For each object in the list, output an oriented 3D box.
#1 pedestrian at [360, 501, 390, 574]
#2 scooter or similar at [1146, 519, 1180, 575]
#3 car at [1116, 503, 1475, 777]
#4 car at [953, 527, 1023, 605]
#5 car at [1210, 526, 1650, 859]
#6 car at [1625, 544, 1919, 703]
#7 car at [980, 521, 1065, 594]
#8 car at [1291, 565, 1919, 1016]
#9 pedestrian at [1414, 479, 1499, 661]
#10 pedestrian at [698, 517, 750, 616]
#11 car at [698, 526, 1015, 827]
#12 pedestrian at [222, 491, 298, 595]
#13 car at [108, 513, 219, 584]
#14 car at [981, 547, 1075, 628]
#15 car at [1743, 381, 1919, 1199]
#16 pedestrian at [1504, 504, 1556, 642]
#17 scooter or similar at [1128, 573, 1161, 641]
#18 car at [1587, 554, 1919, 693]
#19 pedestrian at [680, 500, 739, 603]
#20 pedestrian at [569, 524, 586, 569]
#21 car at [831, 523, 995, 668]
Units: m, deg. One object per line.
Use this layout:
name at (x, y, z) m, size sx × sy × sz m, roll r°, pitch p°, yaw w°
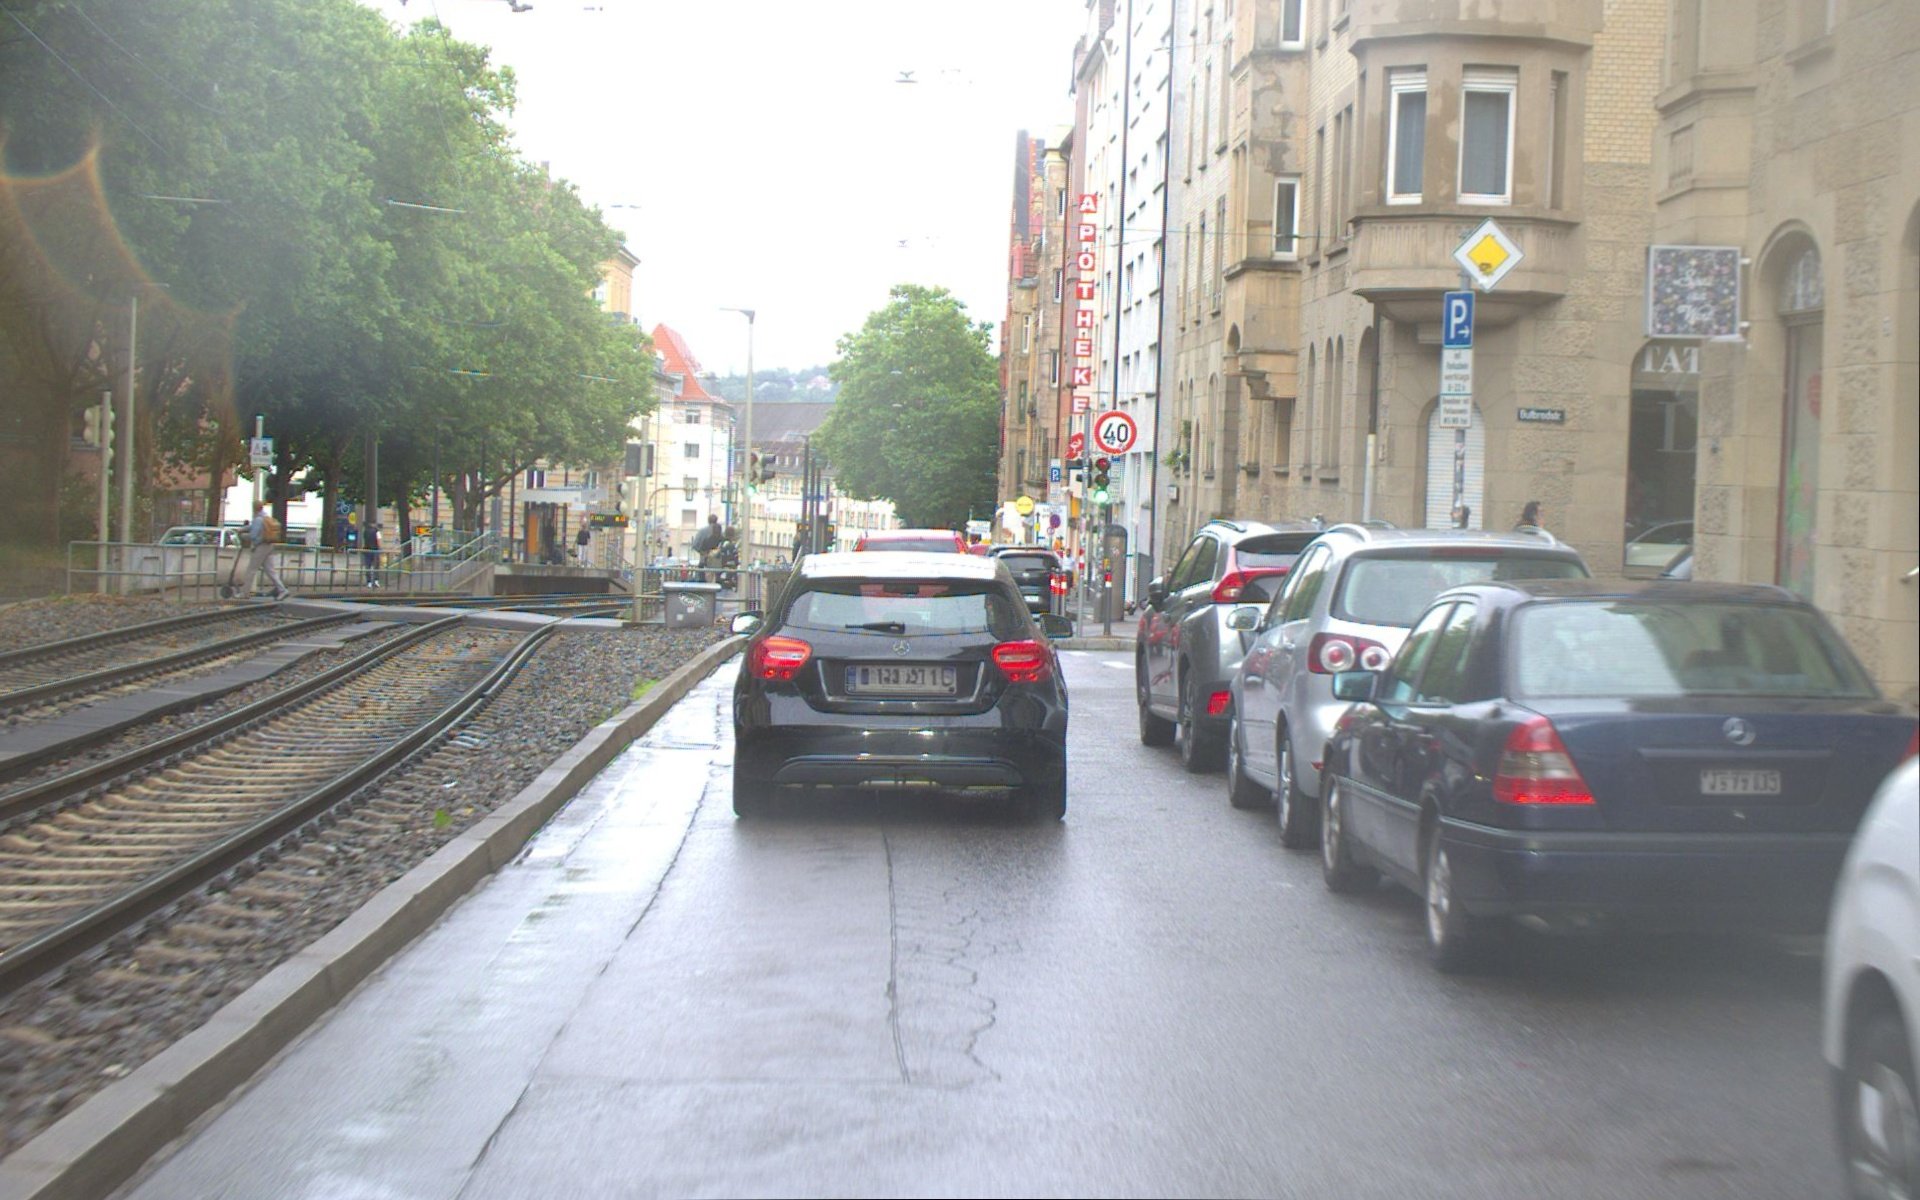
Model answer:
pedestrian at (-14.336, -1.531, 84.235) m, size 0.534 × 1.748 × 0.607 m, roll 3°, pitch 1°, yaw -1°
scooter or similar at (4.902, -1.290, 83.086) m, size 0.448 × 1.316 × 1.778 m, roll -1°, pitch 1°, yaw -8°
car at (2.203, 0.209, 23.725) m, size 1.766 × 1.662 × 4.333 m, roll 2°, pitch 1°, yaw -3°
car at (0.722, -0.934, 92.553) m, size 1.759 × 2.007 × 4.001 m, roll 0°, pitch 1°, yaw -1°
car at (2.357, 0.399, 18.175) m, size 1.693 × 1.524 × 4.000 m, roll 1°, pitch 1°, yaw -1°
car at (8.859, 0.208, 33.482) m, size 4.451 × 1.479 × 1.864 m, roll 0°, pitch 1°, yaw 2°
car at (1.378, -0.968, 77.326) m, size 1.759 × 1.573 × 4.001 m, roll 0°, pitch 2°, yaw -1°
car at (2.424, 0.589, 13.137) m, size 1.717 × 1.342 × 4.462 m, roll 2°, pitch 1°, yaw -2°
pedestrian at (4.945, -0.305, 34.242) m, size 0.694 × 1.781 × 0.758 m, roll -1°, pitch 1°, yaw -2°
pedestrian at (-3.928, -0.566, 57.236) m, size 0.806 × 1.628 × 0.892 m, roll 0°, pitch 1°, yaw 0°
car at (-0.571, 0.351, 19.225) m, size 1.580 × 1.499 × 3.575 m, roll 1°, pitch 1°, yaw -2°
pedestrian at (-11.807, -0.964, 58.004) m, size 1.054 × 1.713 × 0.904 m, roll 2°, pitch 1°, yaw 1°
car at (-17.584, -1.165, 76.035) m, size 1.658 × 1.492 × 3.786 m, roll 1°, pitch 1°, yaw -2°
car at (1.408, -0.283, 72.506) m, size 1.827 × 1.612 × 3.864 m, roll 0°, pitch 2°, yaw -1°
car at (2.590, 0.525, 5.118) m, size 1.828 × 1.744 × 4.467 m, roll 1°, pitch 1°, yaw 1°
pedestrian at (7.035, -0.338, 42.463) m, size 0.548 × 1.682 × 0.626 m, roll 1°, pitch 1°, yaw 3°
scooter or similar at (3.688, 0.127, 68.845) m, size 0.448 × 1.316 × 1.778 m, roll 0°, pitch 1°, yaw -4°
car at (9.467, 0.249, 39.069) m, size 4.336 × 1.526 × 1.892 m, roll 0°, pitch 1°, yaw 1°
pedestrian at (-4.926, -0.966, 67.477) m, size 1.137 × 1.991 × 1.173 m, roll 0°, pitch 1°, yaw -5°
pedestrian at (-14.660, -2.060, 131.846) m, size 0.518 × 1.711 × 0.551 m, roll 3°, pitch 1°, yaw -1°
car at (-0.554, -0.087, 40.041) m, size 1.785 × 1.575 × 4.000 m, roll 1°, pitch 1°, yaw -1°
